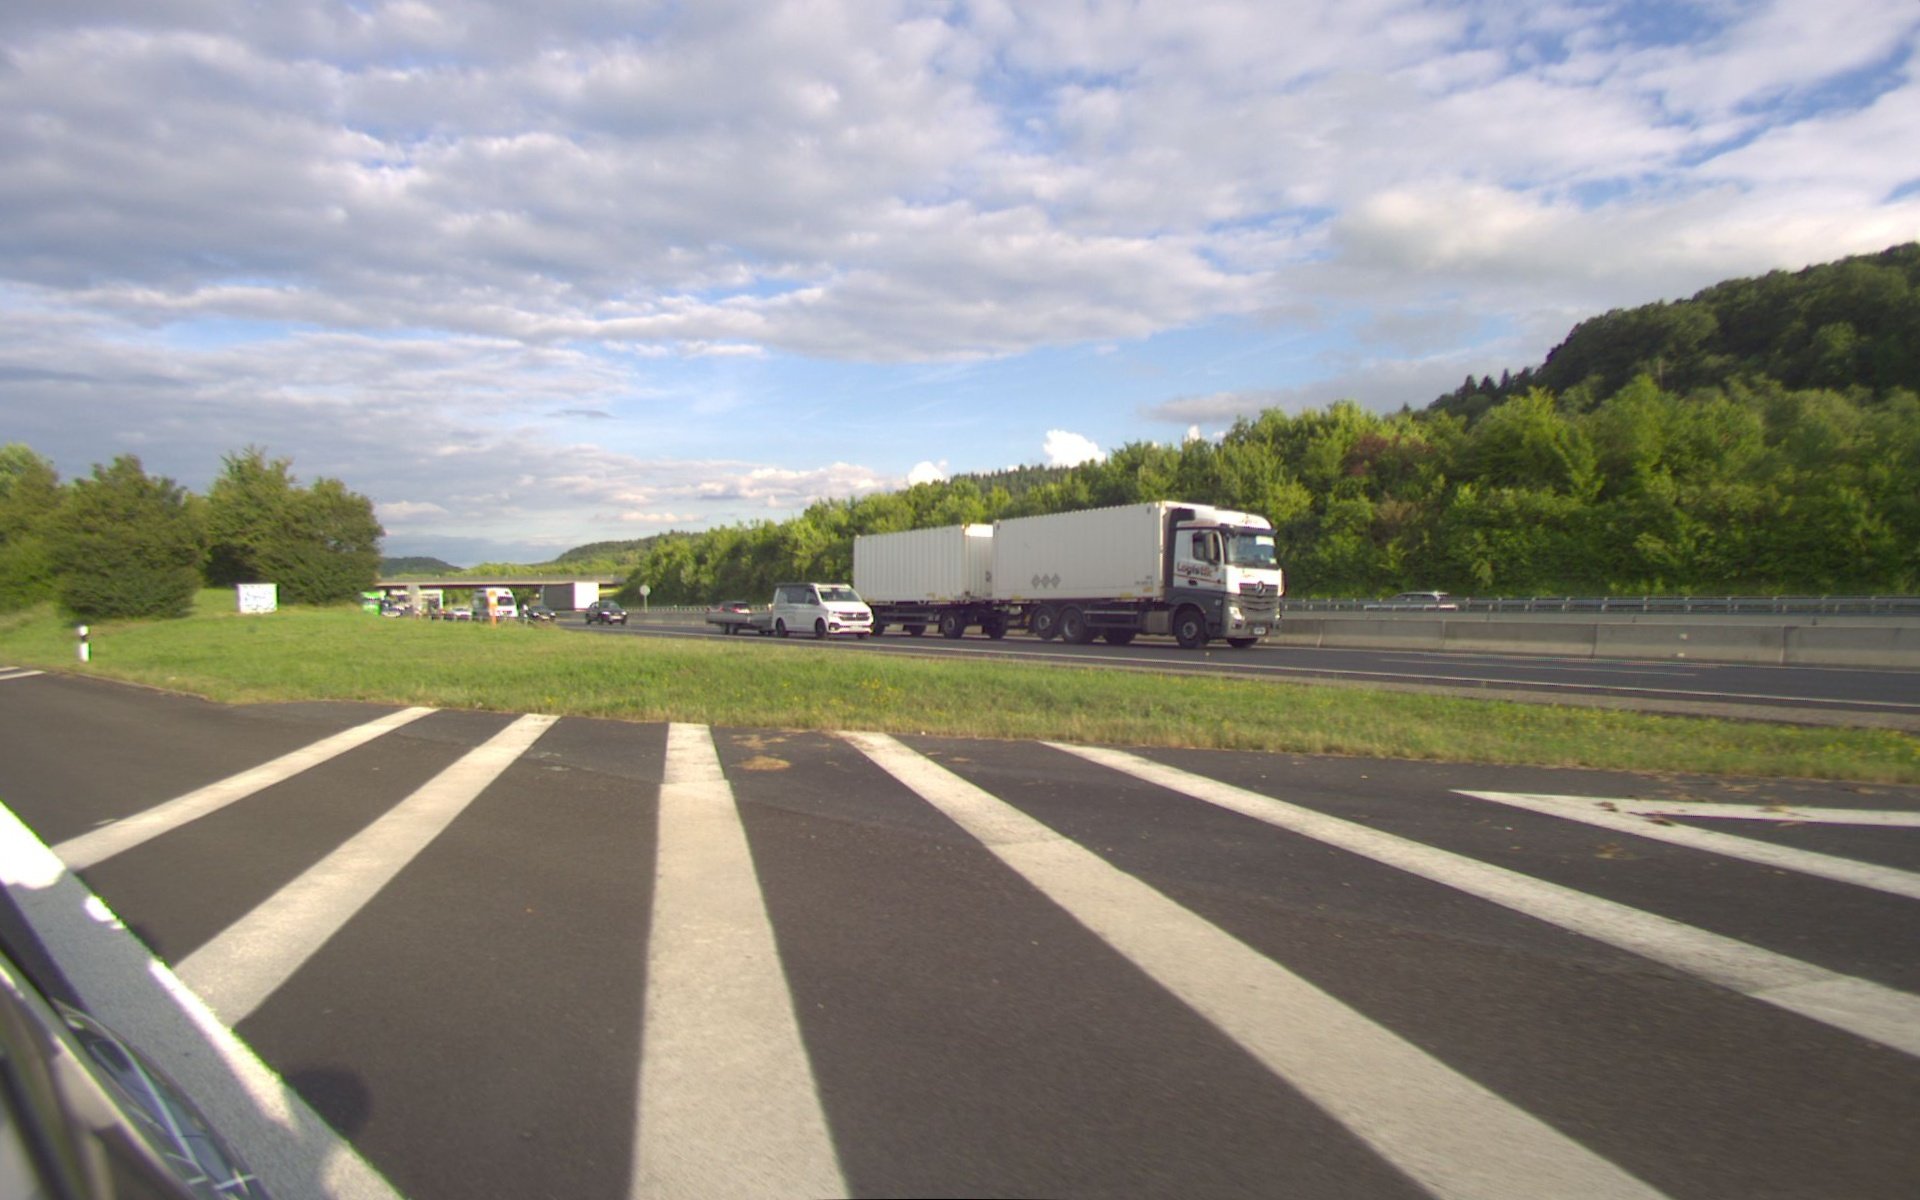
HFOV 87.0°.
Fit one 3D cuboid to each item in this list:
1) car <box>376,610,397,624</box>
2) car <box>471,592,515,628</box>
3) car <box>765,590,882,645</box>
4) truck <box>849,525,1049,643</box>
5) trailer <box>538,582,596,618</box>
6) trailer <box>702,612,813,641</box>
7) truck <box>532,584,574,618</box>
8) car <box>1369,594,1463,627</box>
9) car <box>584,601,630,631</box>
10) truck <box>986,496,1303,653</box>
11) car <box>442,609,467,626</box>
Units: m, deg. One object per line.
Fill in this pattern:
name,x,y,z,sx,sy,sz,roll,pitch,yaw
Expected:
car,-71.749,2.143,126.547,1.851,1.704,4.099,-1,0,-35
car,-35.630,0.775,77.080,1.967,2.569,5.797,-1,0,-35
car,-4.944,0.592,36.160,1.967,1.789,4.912,-1,0,-37
truck,-0.694,-0.509,38.067,2.733,3.935,8.900,-1,0,-37
trailer,-45.878,0.097,117.900,2.905,3.917,13.003,-2,1,-36
trailer,-8.188,1.020,40.473,1.967,1.043,5.895,-1,0,-37
truck,-49.309,0.162,122.579,2.905,3.917,7.103,-2,1,-36
car,22.958,0.516,51.061,1.601,1.590,4.005,-1,0,-42
car,-23.999,1.065,68.735,1.851,1.948,4.099,-1,0,-35
truck,5.041,-0.626,30.476,2.733,3.977,10.176,-1,0,-37
car,-55.215,1.881,110.433,1.851,1.704,4.099,-1,0,-35
